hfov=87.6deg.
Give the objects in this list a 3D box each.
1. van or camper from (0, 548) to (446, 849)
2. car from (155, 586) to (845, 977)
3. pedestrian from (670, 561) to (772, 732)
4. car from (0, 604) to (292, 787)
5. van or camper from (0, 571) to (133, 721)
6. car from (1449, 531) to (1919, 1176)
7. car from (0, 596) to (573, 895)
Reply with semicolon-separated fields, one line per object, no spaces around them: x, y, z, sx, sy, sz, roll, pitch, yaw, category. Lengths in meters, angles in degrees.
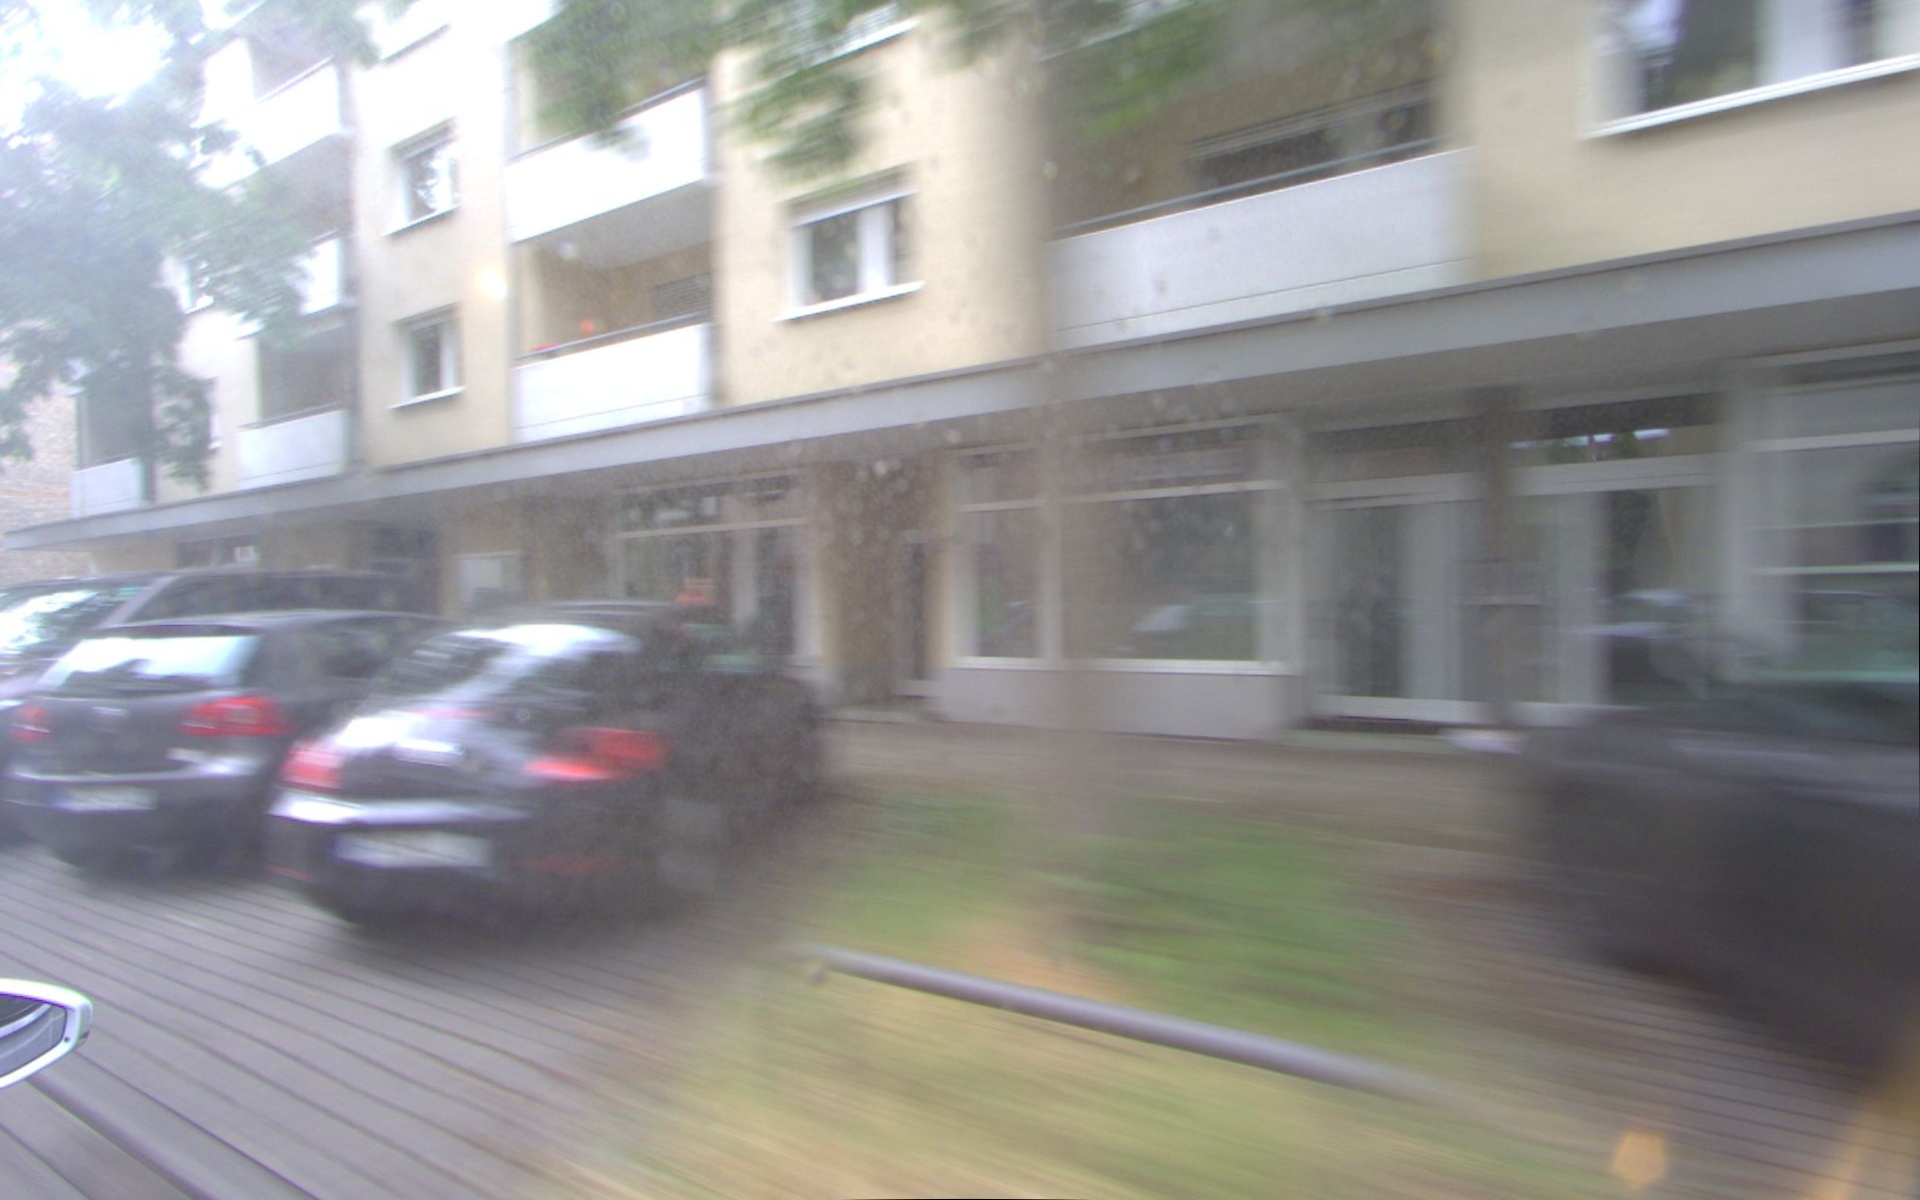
-6.929;0.621;8.588;2.086;1.894;5.020;-2;1;5;van or camper
-2.057;0.713;5.937;1.910;1.503;4.051;-2;0;5;car
-2.578;0.480;10.806;0.837;1.765;0.623;-1;1;32;pedestrian
-9.095;0.852;10.185;1.806;1.464;4.006;-2;1;1;car
-14.062;0.685;13.196;1.962;2.020;4.743;-3;0;7;van or camper
3.208;0.563;2.394;1.937;1.521;4.225;-2;1;-1;car
-4.521;0.762;7.147;1.876;1.522;3.861;-2;0;2;car
